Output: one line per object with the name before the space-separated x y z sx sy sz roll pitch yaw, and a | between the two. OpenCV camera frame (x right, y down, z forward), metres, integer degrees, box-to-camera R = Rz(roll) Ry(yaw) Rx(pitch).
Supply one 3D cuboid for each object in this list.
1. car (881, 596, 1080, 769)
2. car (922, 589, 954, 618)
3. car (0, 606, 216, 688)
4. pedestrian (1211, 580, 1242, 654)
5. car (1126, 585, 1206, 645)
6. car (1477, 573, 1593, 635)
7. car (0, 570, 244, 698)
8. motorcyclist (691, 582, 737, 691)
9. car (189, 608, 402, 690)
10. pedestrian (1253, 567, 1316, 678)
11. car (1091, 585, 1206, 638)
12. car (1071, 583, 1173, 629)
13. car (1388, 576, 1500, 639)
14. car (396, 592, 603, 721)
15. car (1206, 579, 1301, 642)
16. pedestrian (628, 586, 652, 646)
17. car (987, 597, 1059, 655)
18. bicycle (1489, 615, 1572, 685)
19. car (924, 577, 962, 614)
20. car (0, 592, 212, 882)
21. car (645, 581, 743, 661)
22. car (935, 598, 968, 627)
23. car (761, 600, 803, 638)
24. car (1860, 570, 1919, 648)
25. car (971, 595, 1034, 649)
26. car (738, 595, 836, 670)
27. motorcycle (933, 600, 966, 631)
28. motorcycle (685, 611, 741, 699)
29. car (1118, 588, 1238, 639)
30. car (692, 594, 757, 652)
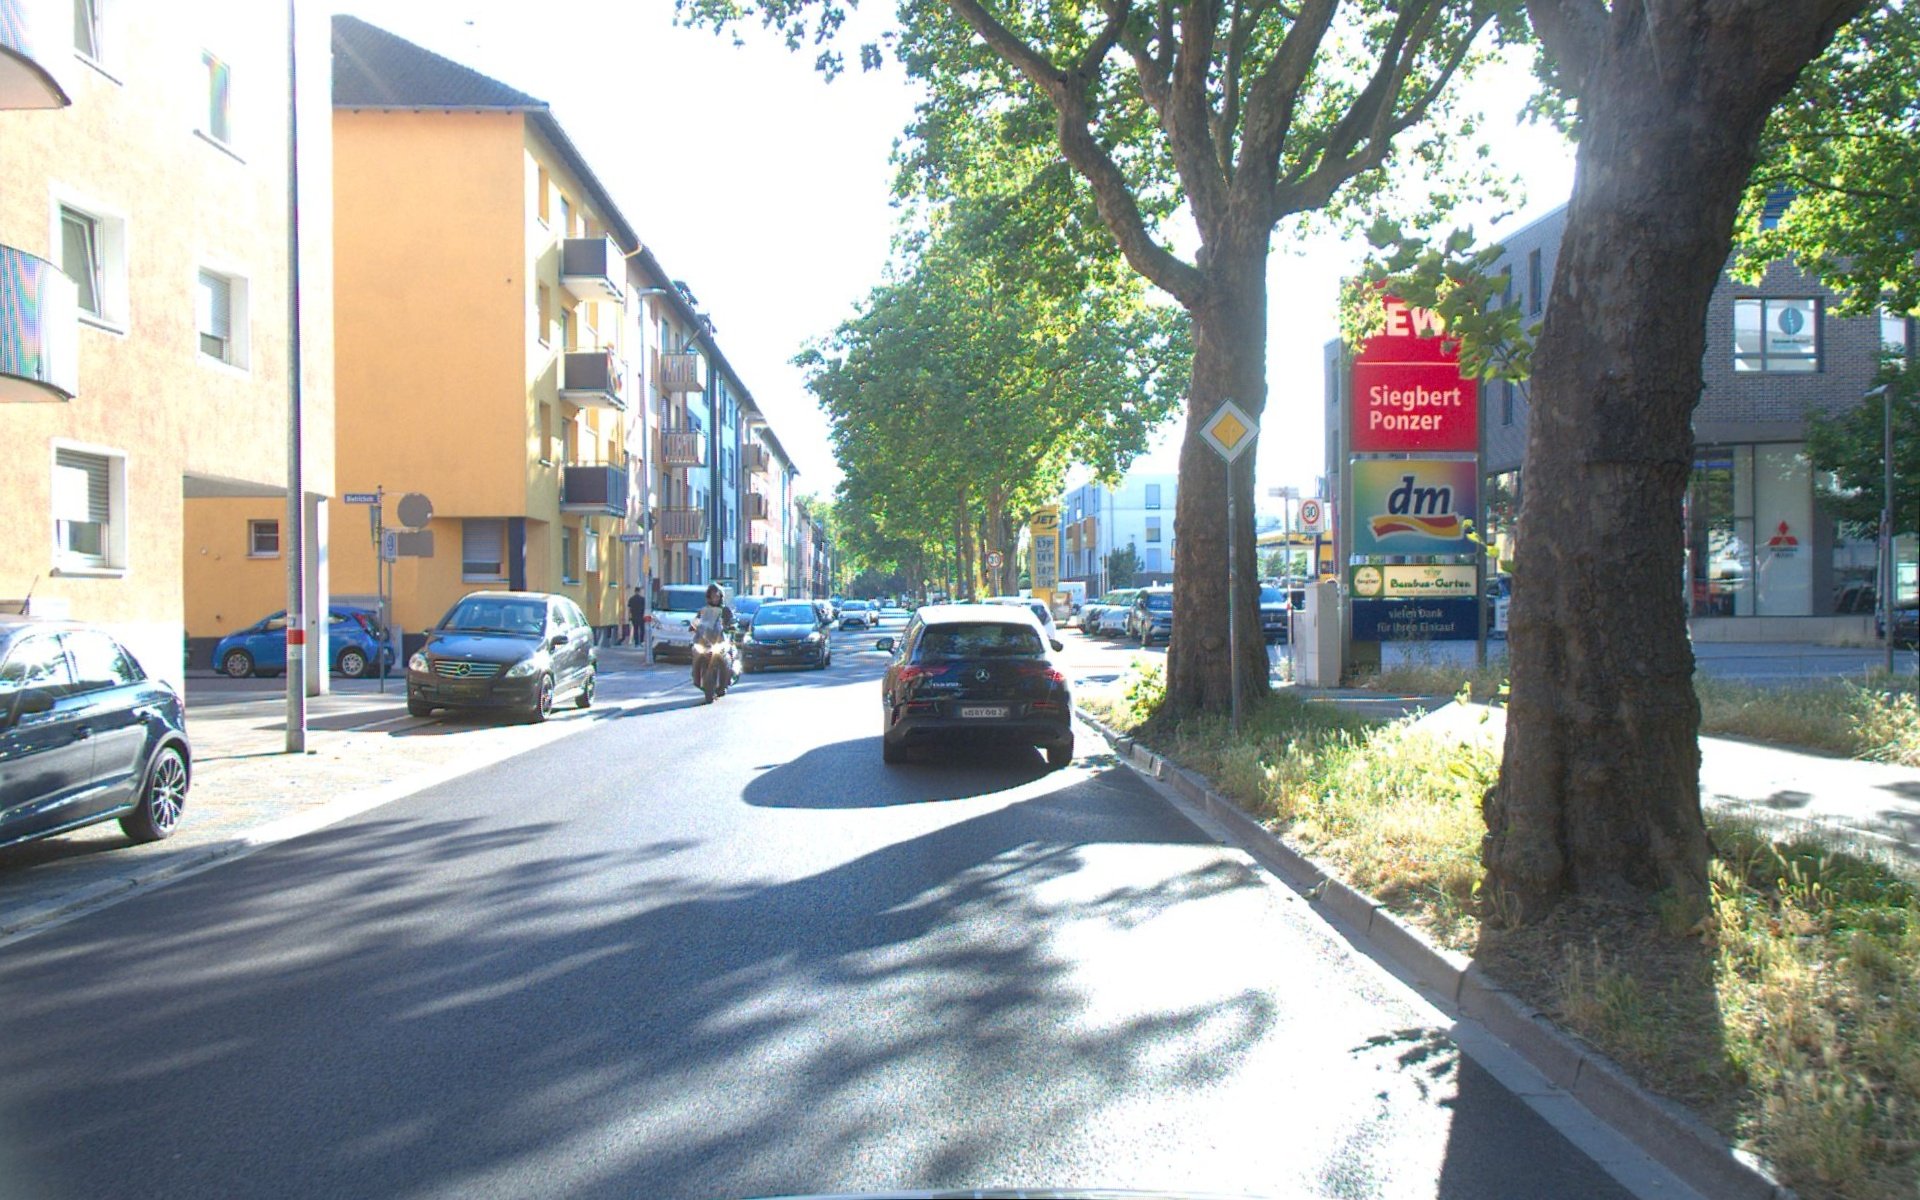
car | 0.211 0.711 16.339 1.708 1.469 3.969 1 0 1
car | -1.597 0.280 119.378 1.955 2.049 3.995 0 -1 -5
car | -17.757 0.948 34.224 3.909 1.594 1.748 -1 0 -1
pedestrian | 6.398 0.408 39.653 0.677 1.753 0.722 -1 0 11
car | 6.101 0.429 49.484 1.717 1.699 4.156 -1 0 -2
car | 17.250 0.120 49.846 1.945 1.764 4.179 -1 0 -1
car | -14.974 0.573 28.202 4.649 2.049 1.919 -1 0 0
motorcyclist | -3.772 0.555 25.411 0.574 1.633 0.831 -1 0 -2
car | -13.746 0.989 34.367 3.707 1.594 1.748 -1 0 -1
pedestrian | 5.431 0.372 27.701 0.755 1.792 0.660 -2 0 -17
car | 6.431 0.376 56.277 3.780 1.638 1.718 -2 1 -38
car | 6.187 0.221 62.953 3.783 1.606 1.721 -2 1 -40
car | 14.311 0.201 49.162 1.839 1.764 4.177 -1 0 -4
car | -6.060 0.686 22.211 1.643 1.550 4.020 1 0 0
car | 8.741 0.299 49.657 1.790 1.762 4.364 -1 0 -4
pedestrian | -9.745 0.488 50.422 0.575 1.821 0.642 -1 0 -1
car | 1.742 0.733 46.664 1.602 1.493 4.018 -2 -1 -3
bicycle | 8.678 0.743 25.217 0.377 1.021 1.479 -1 0 -18
car | -0.779 -0.196 75.134 1.528 1.624 3.598 1 -1 -3
car | -5.874 0.716 9.339 1.643 1.512 3.601 1 0 0
car | -6.762 0.502 42.522 1.698 1.940 5.208 0 0 0
car | -0.506 0.699 94.131 1.687 1.585 3.598 1 -1 -3
car | -7.484 0.783 69.721 1.517 1.550 4.002 1 0 -3
car | 23.136 0.135 37.506 4.395 1.691 2.029 -2 1 -4
car | 1.330 0.711 53.484 1.774 1.565 4.582 -3 -1 -1
car | -3.732 0.672 36.287 1.735 1.504 4.321 -1 0 -1
motorcycle | -0.551 0.814 86.894 1.620 1.585 0.607 1 -1 -24
motorcycle | -3.768 0.808 25.344 0.536 1.263 2.263 -3 0 -2
car | 7.091 0.429 53.677 3.776 1.572 1.642 -1 0 -36
car | -7.713 0.721 54.514 1.710 1.819 4.546 1 0 -3
